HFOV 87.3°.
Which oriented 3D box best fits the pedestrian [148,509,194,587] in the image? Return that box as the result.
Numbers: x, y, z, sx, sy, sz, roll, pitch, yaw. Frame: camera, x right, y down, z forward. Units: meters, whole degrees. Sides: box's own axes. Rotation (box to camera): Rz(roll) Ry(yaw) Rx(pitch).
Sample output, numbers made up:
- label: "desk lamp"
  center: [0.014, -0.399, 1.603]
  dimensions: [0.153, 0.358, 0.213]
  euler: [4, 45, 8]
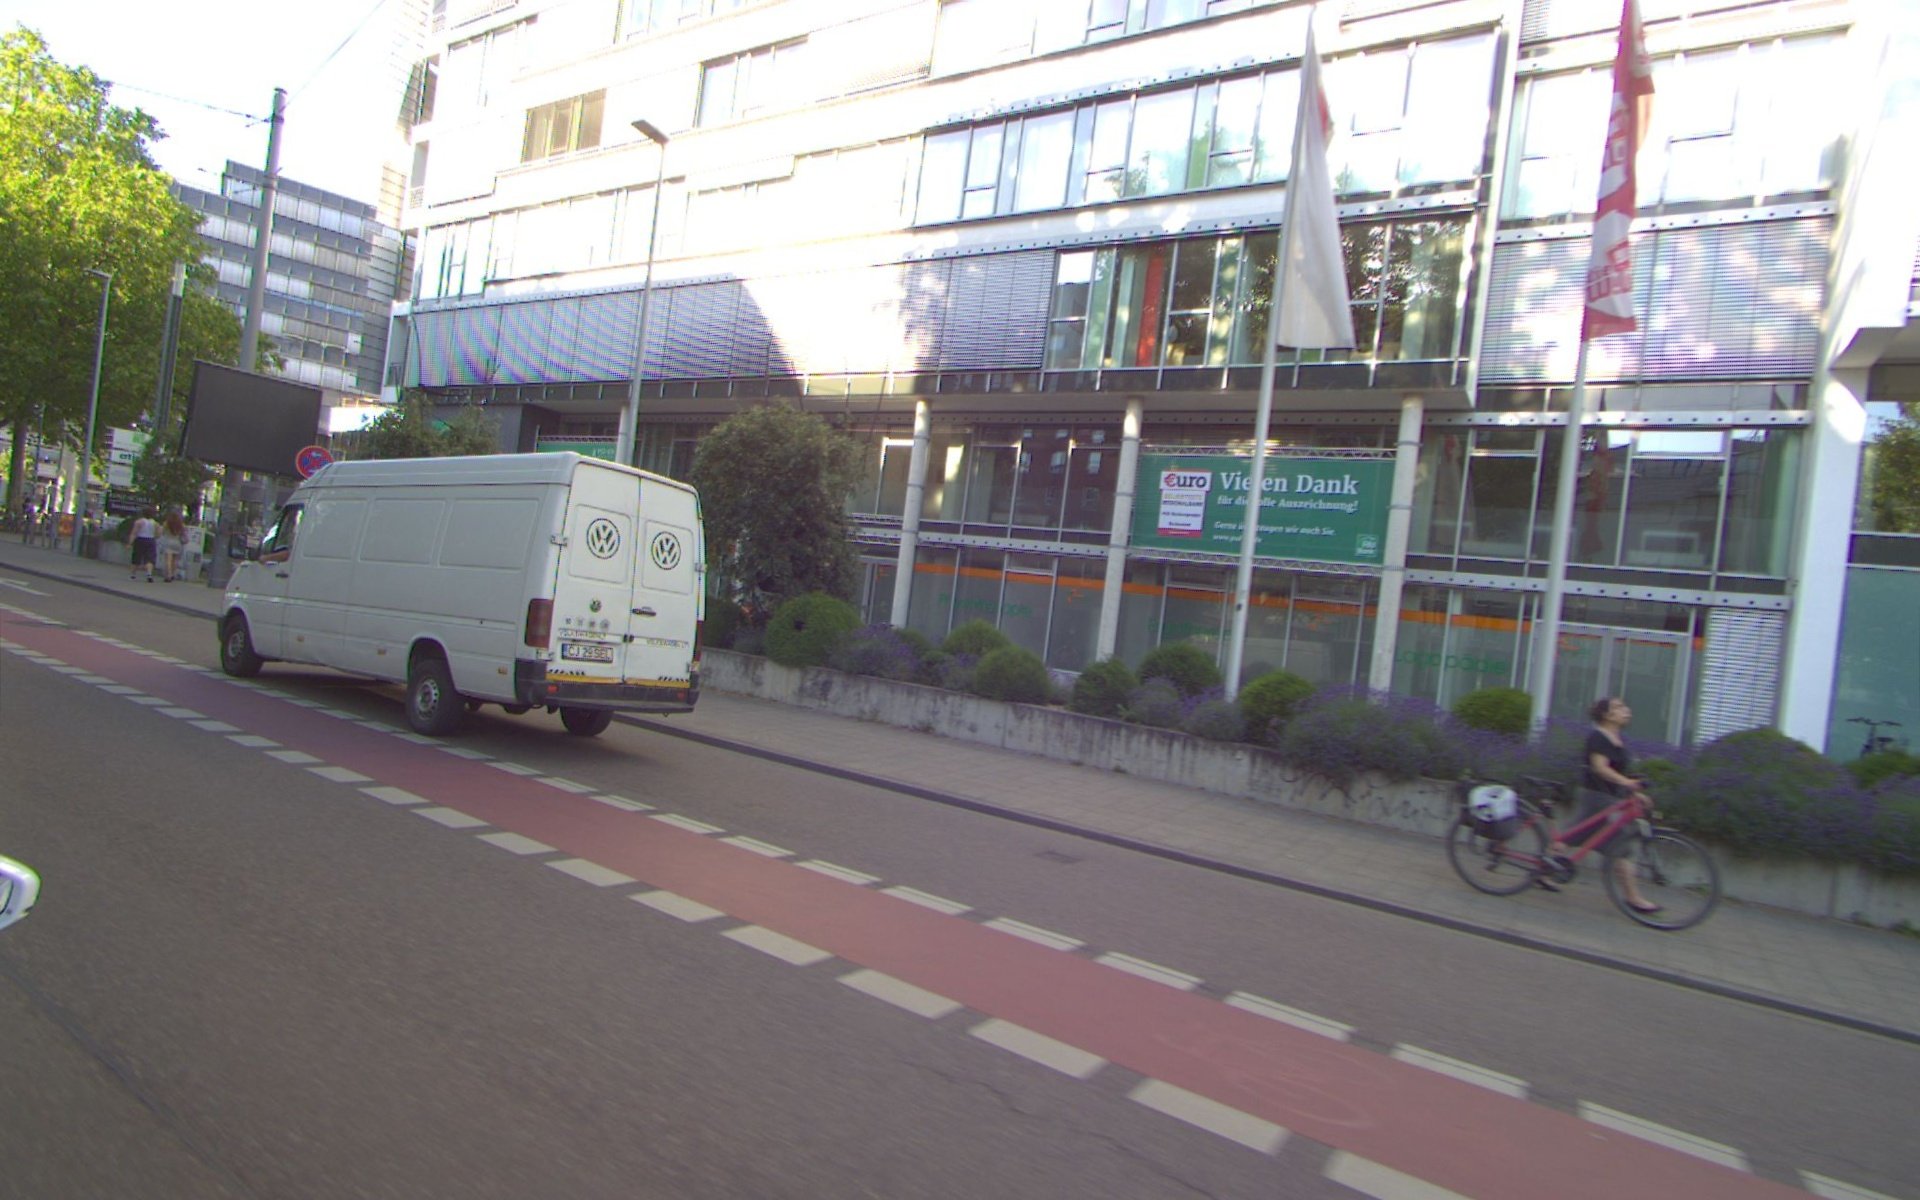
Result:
- label: "pedestrian"
  center: [-19.502, -1.286, 24.858]
  dimensions: [0.892, 1.820, 0.540]
  euler: [7, 3, 31]

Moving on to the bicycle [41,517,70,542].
- label: "bicycle"
  center: [-41.279, -3.220, 45.917]
  dimensions: [1.739, 0.994, 0.504]
  euler: [6, 1, 33]

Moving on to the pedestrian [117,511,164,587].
- label: "pedestrian"
  center: [-19.730, -1.221, 24.218]
  dimensions: [0.892, 1.725, 0.564]
  euler: [7, 3, 31]

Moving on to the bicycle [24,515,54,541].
- label: "bicycle"
  center: [-41.489, -3.248, 45.323]
  dimensions: [1.739, 0.994, 0.504]
  euler: [6, 1, 33]

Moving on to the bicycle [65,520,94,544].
- label: "bicycle"
  center: [-40.675, -3.144, 46.473]
  dimensions: [1.739, 0.994, 0.504]
  euler: [6, 1, 33]

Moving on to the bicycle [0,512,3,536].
- label: "bicycle"
  center: [-42.375, -3.383, 43.876]
  dimensions: [1.739, 0.994, 0.468]
  euler: [6, 1, 33]

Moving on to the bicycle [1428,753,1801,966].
- label: "bicycle"
  center: [4.751, 1.855, 7.490]
  dimensions: [2.164, 0.988, 0.521]
  euler: [7, 3, 30]

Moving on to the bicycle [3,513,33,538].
- label: "bicycle"
  center: [-41.862, -3.316, 44.701]
  dimensions: [1.739, 0.994, 0.504]
  euler: [6, 1, 33]

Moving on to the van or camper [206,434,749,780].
- label: "van or camper"
  center: [-5.311, -0.122, 10.585]
  dimensions: [6.202, 2.747, 1.972]
  euler: [7, -1, 33]

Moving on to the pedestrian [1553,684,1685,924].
- label: "pedestrian"
  center: [5.150, 1.552, 7.907]
  dimensions: [0.640, 1.701, 0.647]
  euler: [7, 0, 29]
